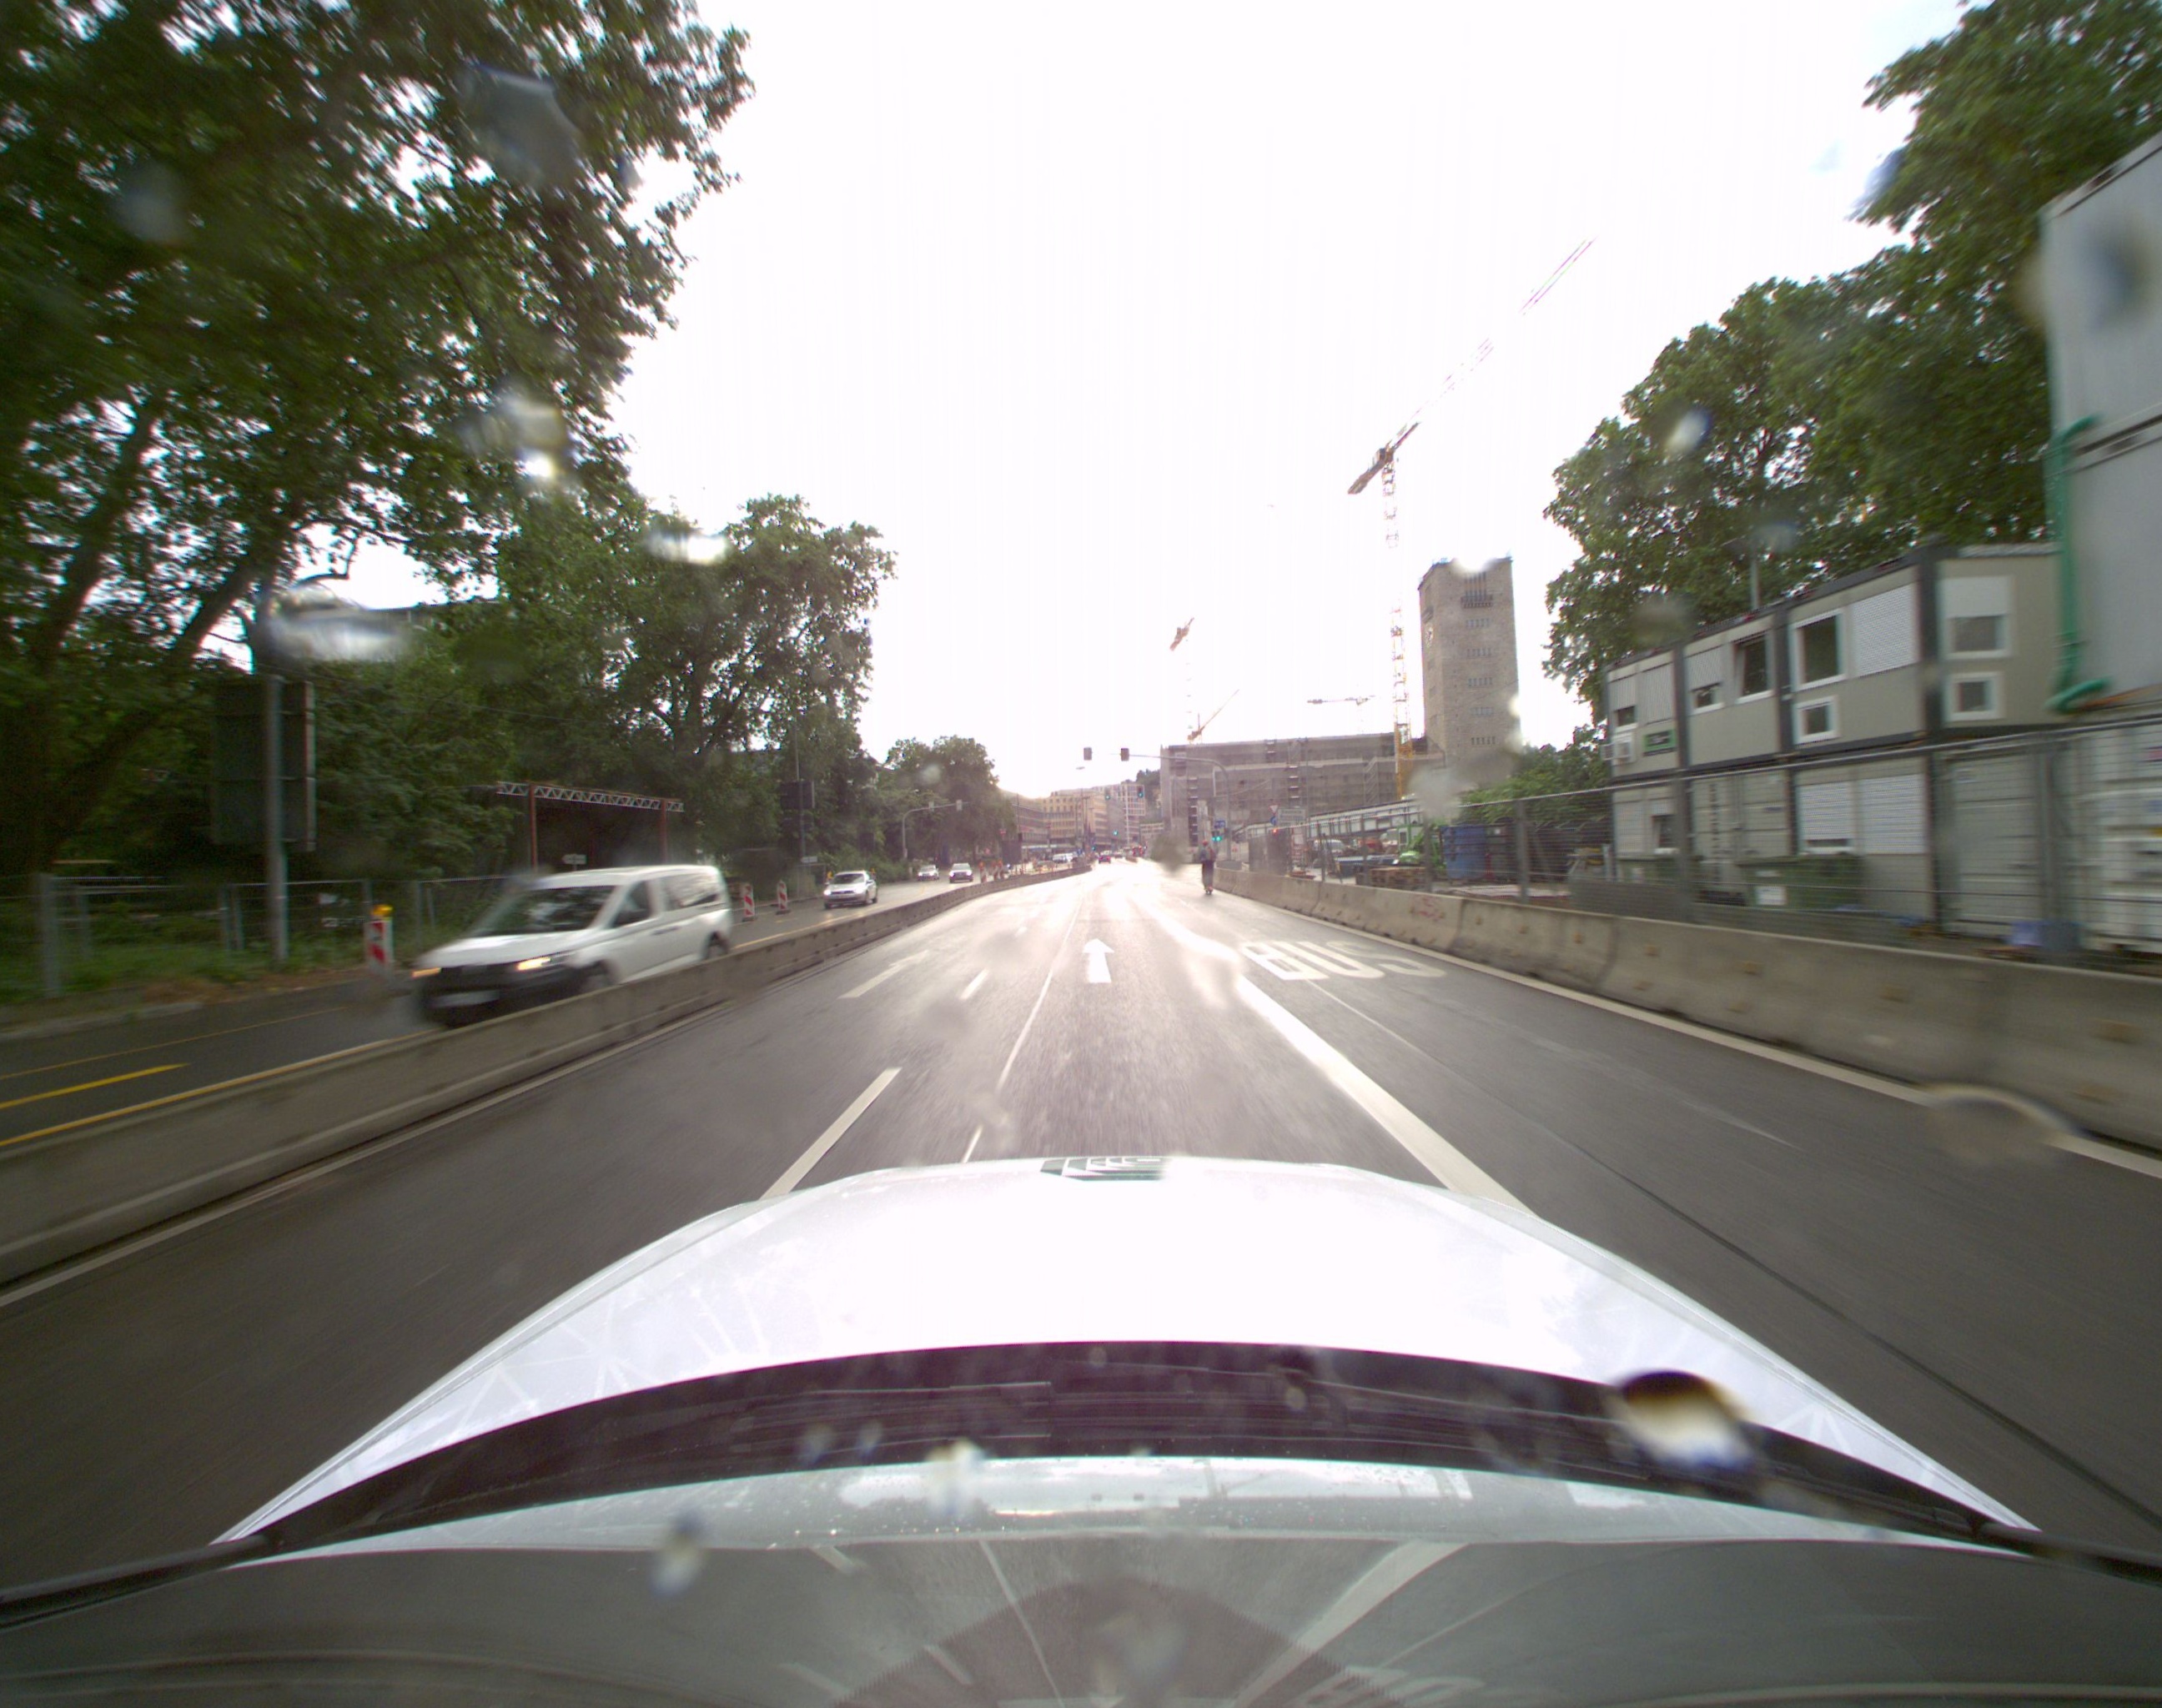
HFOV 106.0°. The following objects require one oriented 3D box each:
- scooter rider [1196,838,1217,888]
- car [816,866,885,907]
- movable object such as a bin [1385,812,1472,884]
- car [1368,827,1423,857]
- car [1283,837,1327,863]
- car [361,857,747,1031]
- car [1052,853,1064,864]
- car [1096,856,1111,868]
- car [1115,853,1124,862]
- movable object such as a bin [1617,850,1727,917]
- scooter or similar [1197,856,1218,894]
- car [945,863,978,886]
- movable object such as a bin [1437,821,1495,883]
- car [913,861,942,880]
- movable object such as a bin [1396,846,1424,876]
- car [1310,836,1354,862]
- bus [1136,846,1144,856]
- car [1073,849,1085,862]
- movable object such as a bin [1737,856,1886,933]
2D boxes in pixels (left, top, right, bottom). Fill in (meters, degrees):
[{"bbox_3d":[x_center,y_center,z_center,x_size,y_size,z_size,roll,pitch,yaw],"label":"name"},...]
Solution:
[{"bbox_3d":[4.585,0.333,29.781,0.594,1.786,0.998,-2,-1,4],"label":"scooter rider"},{"bbox_3d":[-9.842,1.421,35.075,1.865,1.541,4.085,-4,-3,-3],"label":"car"},{"bbox_3d":[14.495,-0.276,34.210,1.803,2.809,3.862,-2,1,-3],"label":"movable object such as a bin"},{"bbox_3d":[27.150,-0.987,70.450,2.041,2.313,5.595,-4,0,-5],"label":"car"},{"bbox_3d":[18.560,-0.301,67.633,1.908,1.975,5.156,-2,0,-3],"label":"car"},{"bbox_3d":[-6.516,0.990,10.975,2.026,1.653,4.907,-4,-1,-2],"label":"car"},{"bbox_3d":[-3.991,0.823,141.244,1.896,1.528,4.175,-4,-3,-1],"label":"car"},{"bbox_3d":[3.279,1.171,120.311,1.896,1.528,4.175,-4,-3,-1],"label":"car"},{"bbox_3d":[9.636,0.977,202.837,1.985,2.014,4.003,-4,-3,3],"label":"car"},{"bbox_3d":[11.995,0.605,16.599,1.242,1.237,1.239,-4,-3,1],"label":"movable object such as a bin"},{"bbox_3d":[4.606,0.751,29.786,0.594,1.319,1.669,-2,0,4],"label":"scooter or similar"},{"bbox_3d":[-9.331,1.616,63.706,1.989,1.541,4.574,-4,-3,-3],"label":"car"},{"bbox_3d":[14.335,-0.090,30.312,1.462,2.203,1.256,-2,1,-22],"label":"movable object such as a bin"},{"bbox_3d":[-14.653,1.625,78.069,1.989,1.541,4.440,-4,-3,-3],"label":"car"},{"bbox_3d":[15.468,0.340,38.325,1.166,1.344,1.272,-2,1,21],"label":"movable object such as a bin"},{"bbox_3d":[18.968,-0.390,61.667,1.839,1.806,5.088,-2,1,1],"label":"car"},{"bbox_3d":[17.058,-0.790,234.144,1.983,2.431,4.008,-5,-3,7],"label":"bus"},{"bbox_3d":[-0.391,0.274,141.673,1.896,2.083,4.175,-4,-3,-1],"label":"car"},{"bbox_3d":[12.020,0.661,13.467,1.242,1.123,1.239,-4,-3,1],"label":"movable object such as a bin"}]
